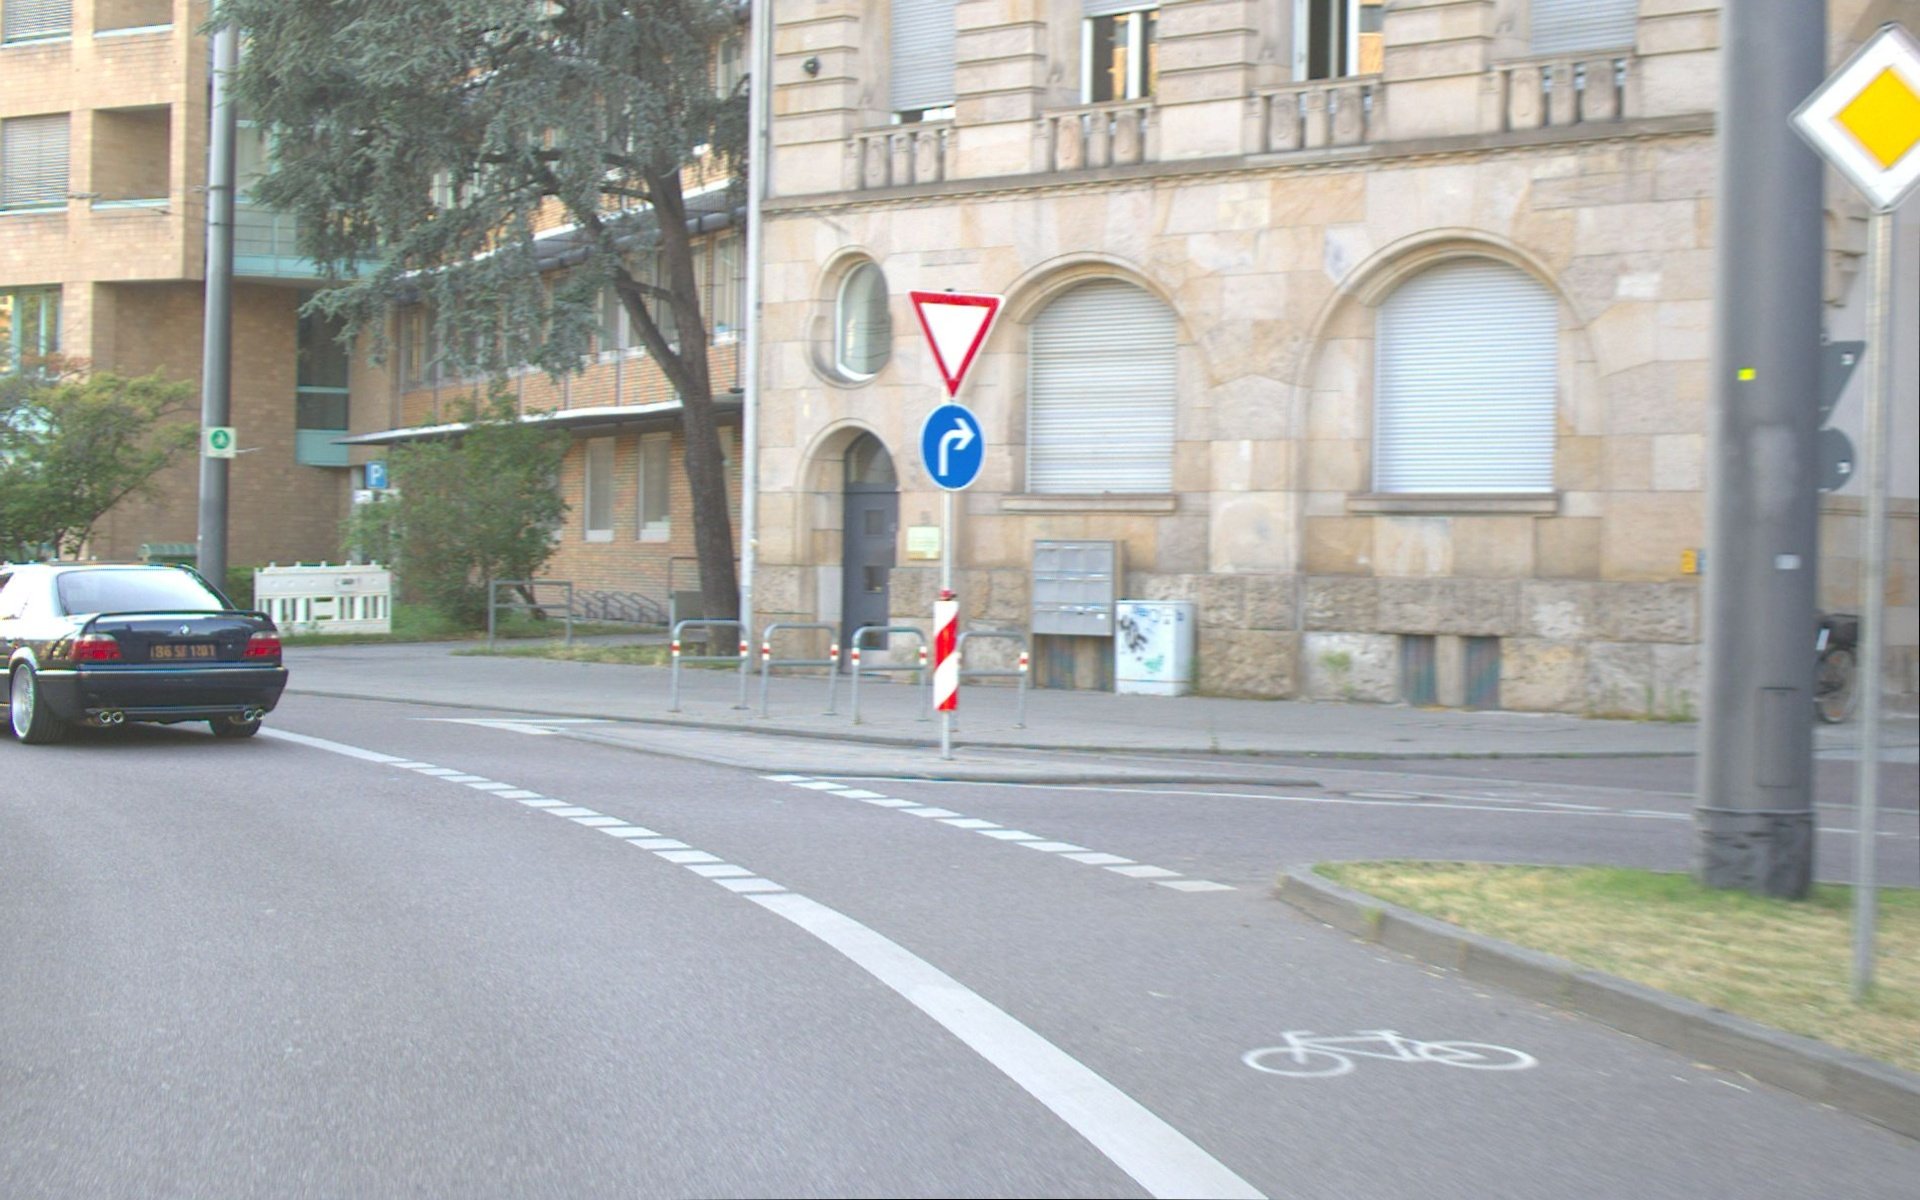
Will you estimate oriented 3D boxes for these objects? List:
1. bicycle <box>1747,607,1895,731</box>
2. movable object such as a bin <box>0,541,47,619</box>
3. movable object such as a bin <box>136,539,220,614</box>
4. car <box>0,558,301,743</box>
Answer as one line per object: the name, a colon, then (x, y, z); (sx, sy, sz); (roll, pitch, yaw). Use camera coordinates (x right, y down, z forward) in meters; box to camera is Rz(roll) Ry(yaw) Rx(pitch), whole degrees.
bicycle: (7.820, 0.611, 31.174); (0.429, 1.069, 1.851); (3, 2, 43)
movable object such as a bin: (-18.212, -0.392, 66.202); (0.971, 1.432, 1.345); (1, 2, -5)
movable object such as a bin: (-15.206, -0.448, 66.846); (1.340, 1.419, 0.924); (0, 2, -31)
car: (-6.976, 0.368, 27.510); (1.830, 1.349, 4.641); (0, 0, -32)
